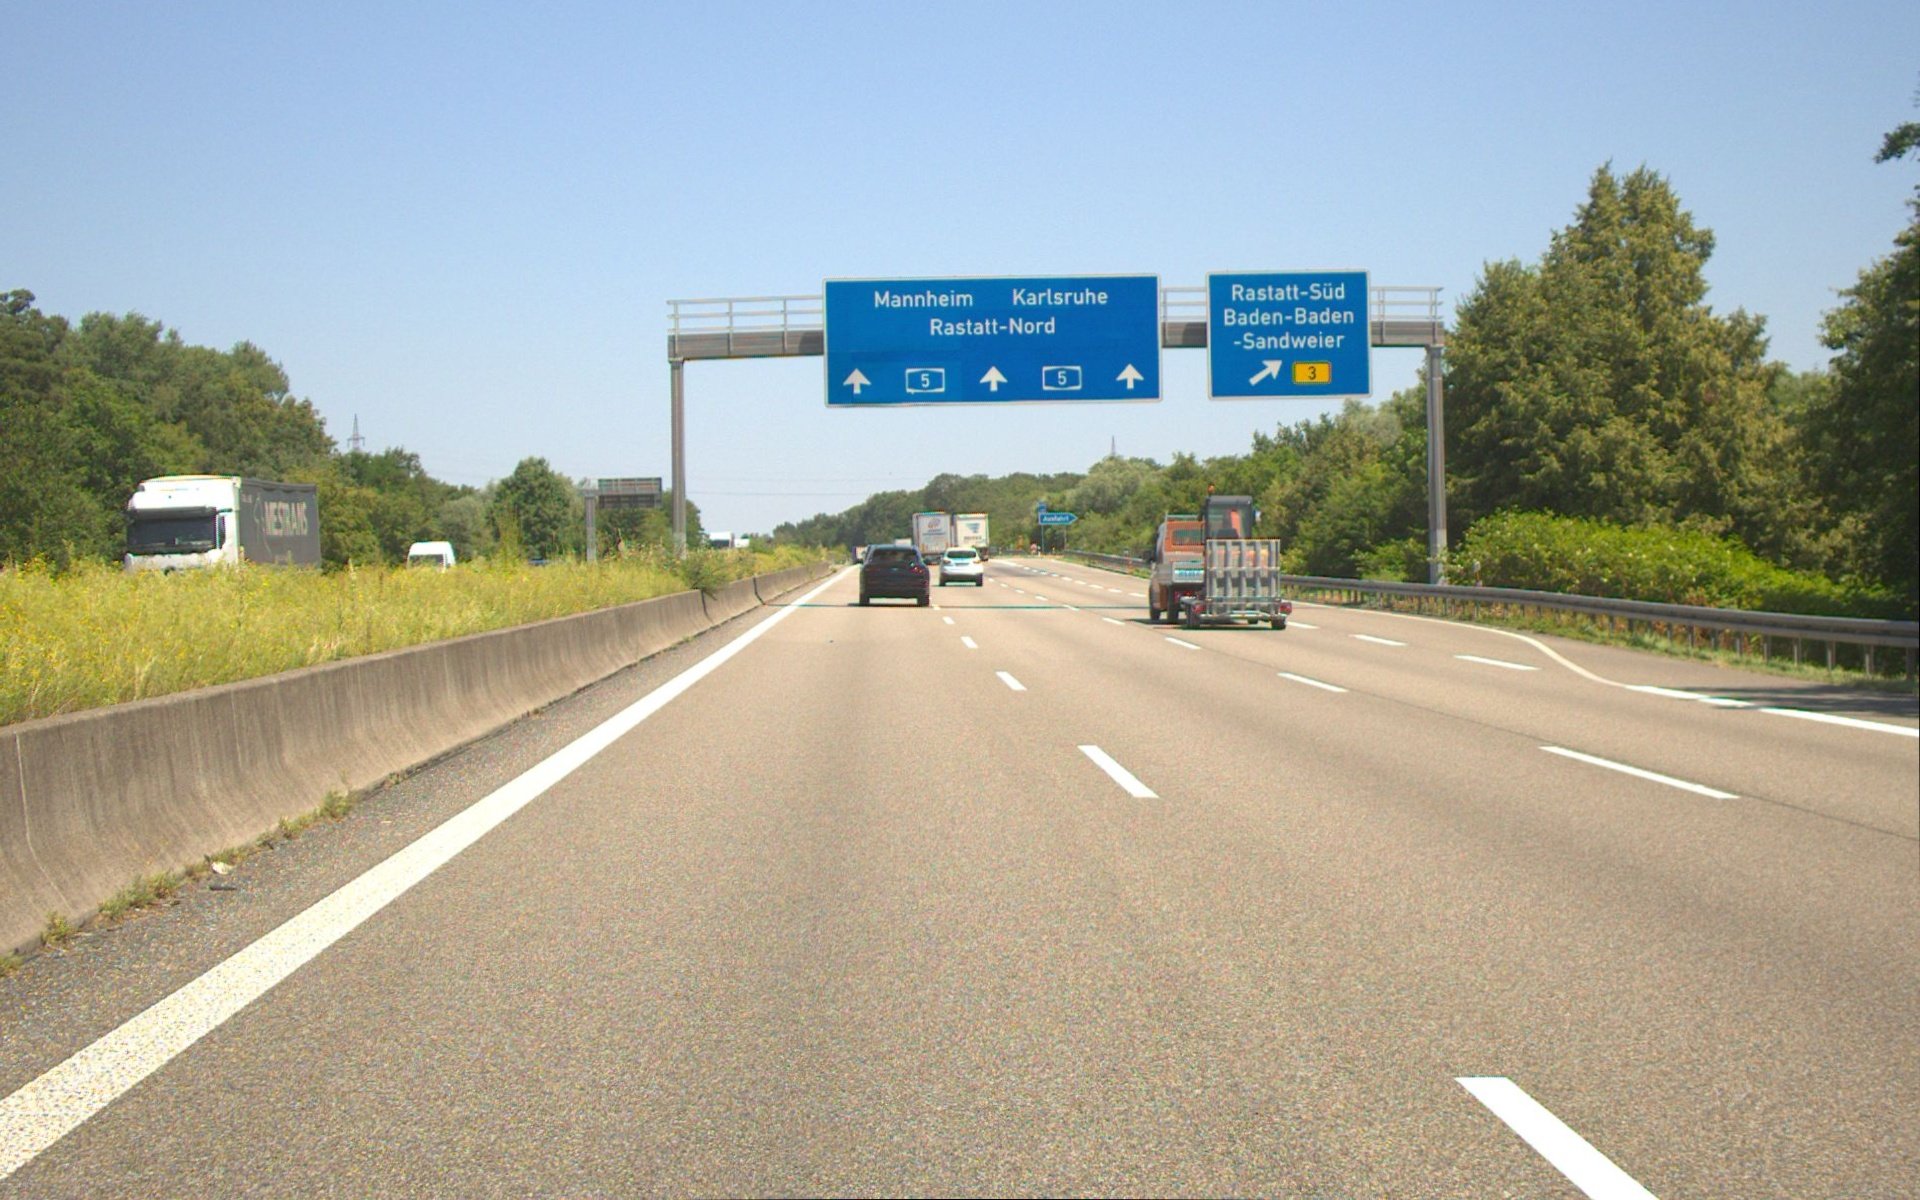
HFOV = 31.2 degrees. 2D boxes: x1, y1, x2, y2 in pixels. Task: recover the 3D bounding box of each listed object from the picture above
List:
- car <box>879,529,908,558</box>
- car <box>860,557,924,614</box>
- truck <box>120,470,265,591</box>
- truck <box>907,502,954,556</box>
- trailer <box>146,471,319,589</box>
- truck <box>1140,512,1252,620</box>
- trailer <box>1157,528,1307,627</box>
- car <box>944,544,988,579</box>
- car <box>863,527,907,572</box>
[{"bbox_3d":[-4.895,-4.138,252.583,1.993,2.007,4.000,-1,0,-2],"label":"car"},{"bbox_3d":[-1.977,-0.415,99.153,1.660,1.544,3.783,2,0,-3],"label":"car"},{"bbox_3d":[-20.242,-1.831,90.935,2.642,3.073,5.848,1,1,-1],"label":"truck"},{"bbox_3d":[-2.290,-5.400,263.425,3.309,3.980,8.405,1,0,-2],"label":"truck"},{"bbox_3d":[-20.398,-1.947,97.157,2.601,3.091,11.955,1,1,-1],"label":"trailer"},{"bbox_3d":[5.320,-0.790,78.146,1.993,2.365,4.645,0,1,-3],"label":"truck"},{"bbox_3d":[5.693,-0.512,72.807,2.420,2.007,6.034,0,1,-3],"label":"trailer"},{"bbox_3d":[0.263,-1.627,147.240,1.740,1.481,4.000,0,0,-2],"label":"car"},{"bbox_3d":[-3.483,-2.331,159.084,1.993,2.007,4.000,-1,1,-2],"label":"car"}]
